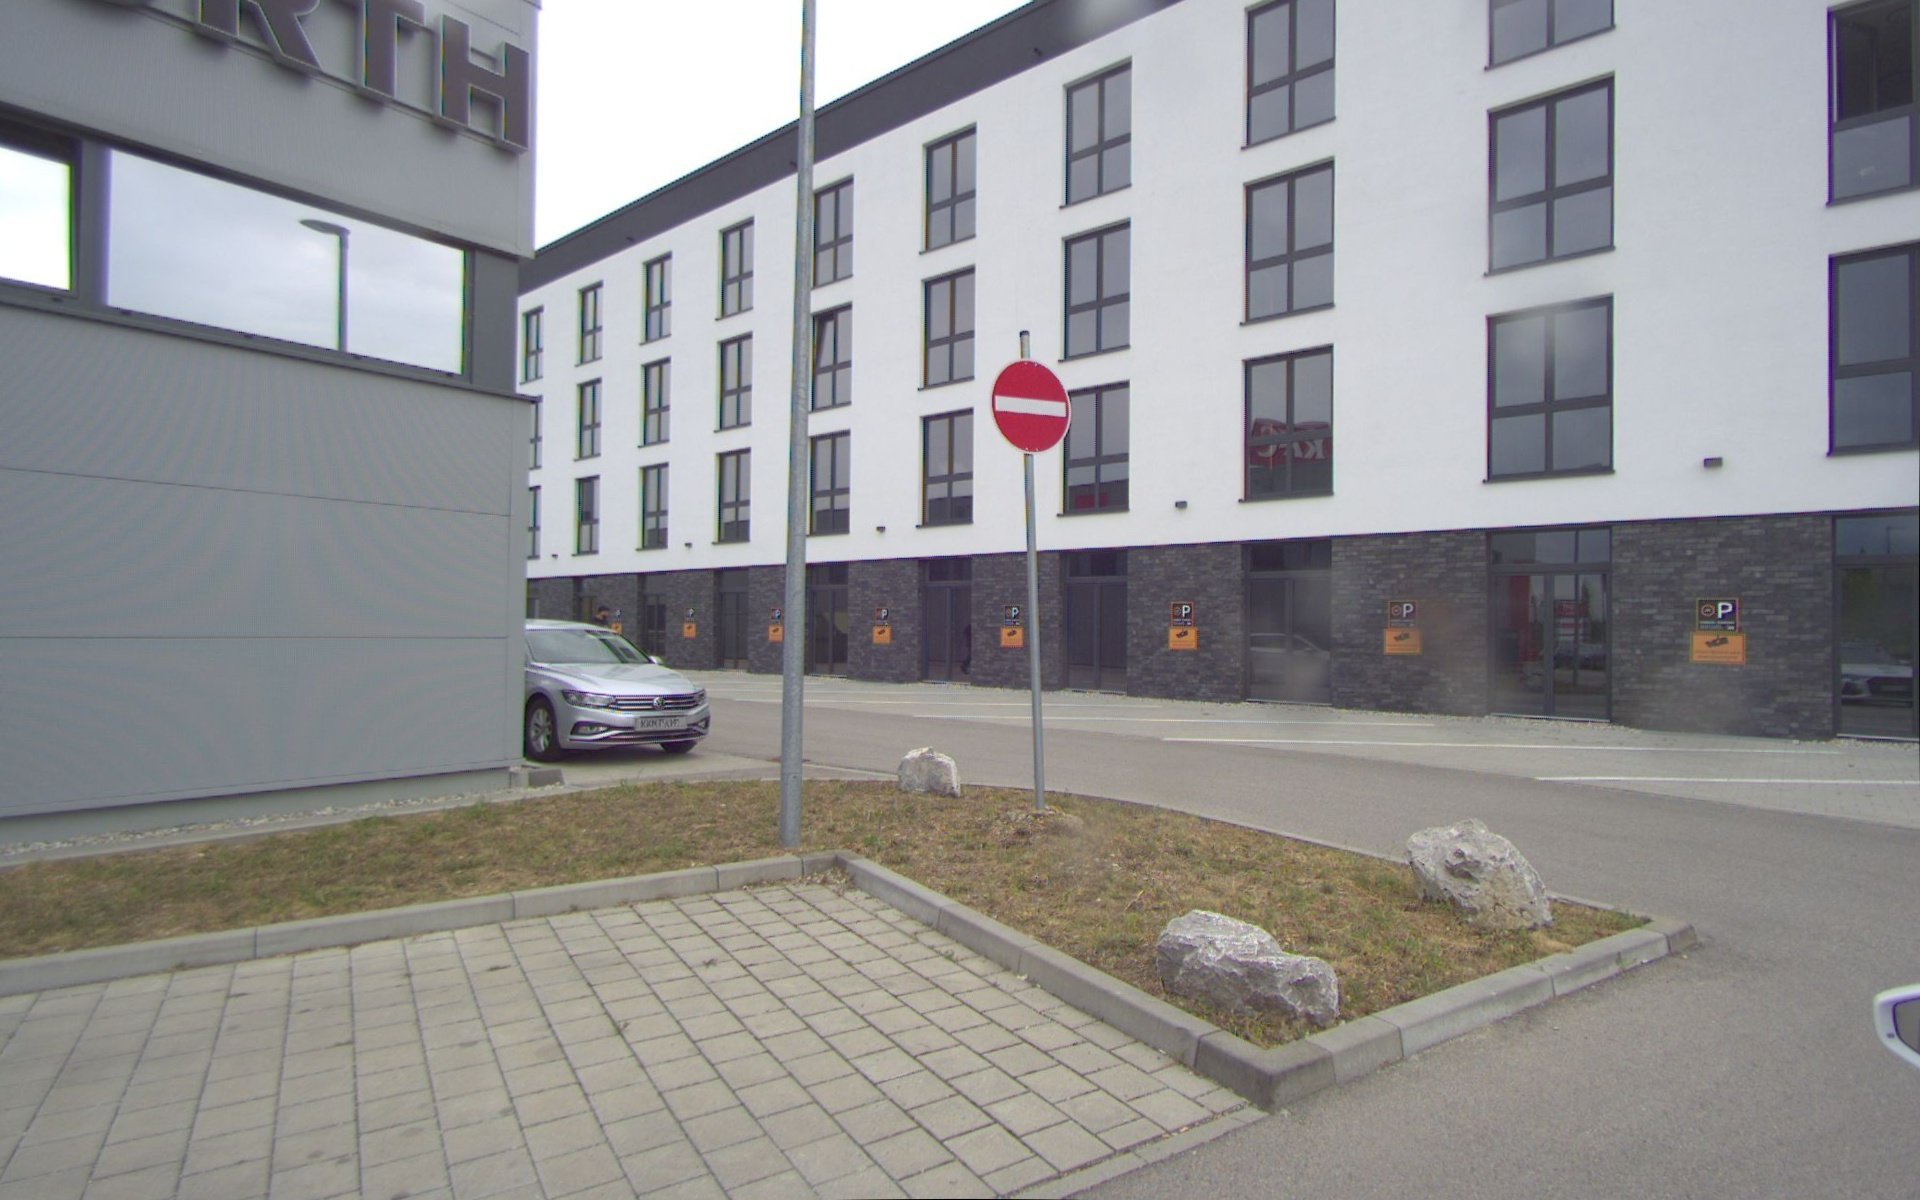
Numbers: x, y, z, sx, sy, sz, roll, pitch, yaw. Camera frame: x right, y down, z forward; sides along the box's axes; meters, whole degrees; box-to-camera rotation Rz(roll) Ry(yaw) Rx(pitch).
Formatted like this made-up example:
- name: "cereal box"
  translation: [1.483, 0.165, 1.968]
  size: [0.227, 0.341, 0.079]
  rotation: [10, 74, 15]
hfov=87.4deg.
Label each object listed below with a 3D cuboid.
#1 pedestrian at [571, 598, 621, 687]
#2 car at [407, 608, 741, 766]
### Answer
- name: "pedestrian"
  translation: [-7.681, 0.885, 21.207]
  size: [0.705, 1.846, 0.803]
  rotation: [2, -1, -43]
- name: "car"
  translation: [-4.753, 0.905, 11.963]
  size: [1.968, 1.511, 4.708]
  rotation: [4, -4, -44]
